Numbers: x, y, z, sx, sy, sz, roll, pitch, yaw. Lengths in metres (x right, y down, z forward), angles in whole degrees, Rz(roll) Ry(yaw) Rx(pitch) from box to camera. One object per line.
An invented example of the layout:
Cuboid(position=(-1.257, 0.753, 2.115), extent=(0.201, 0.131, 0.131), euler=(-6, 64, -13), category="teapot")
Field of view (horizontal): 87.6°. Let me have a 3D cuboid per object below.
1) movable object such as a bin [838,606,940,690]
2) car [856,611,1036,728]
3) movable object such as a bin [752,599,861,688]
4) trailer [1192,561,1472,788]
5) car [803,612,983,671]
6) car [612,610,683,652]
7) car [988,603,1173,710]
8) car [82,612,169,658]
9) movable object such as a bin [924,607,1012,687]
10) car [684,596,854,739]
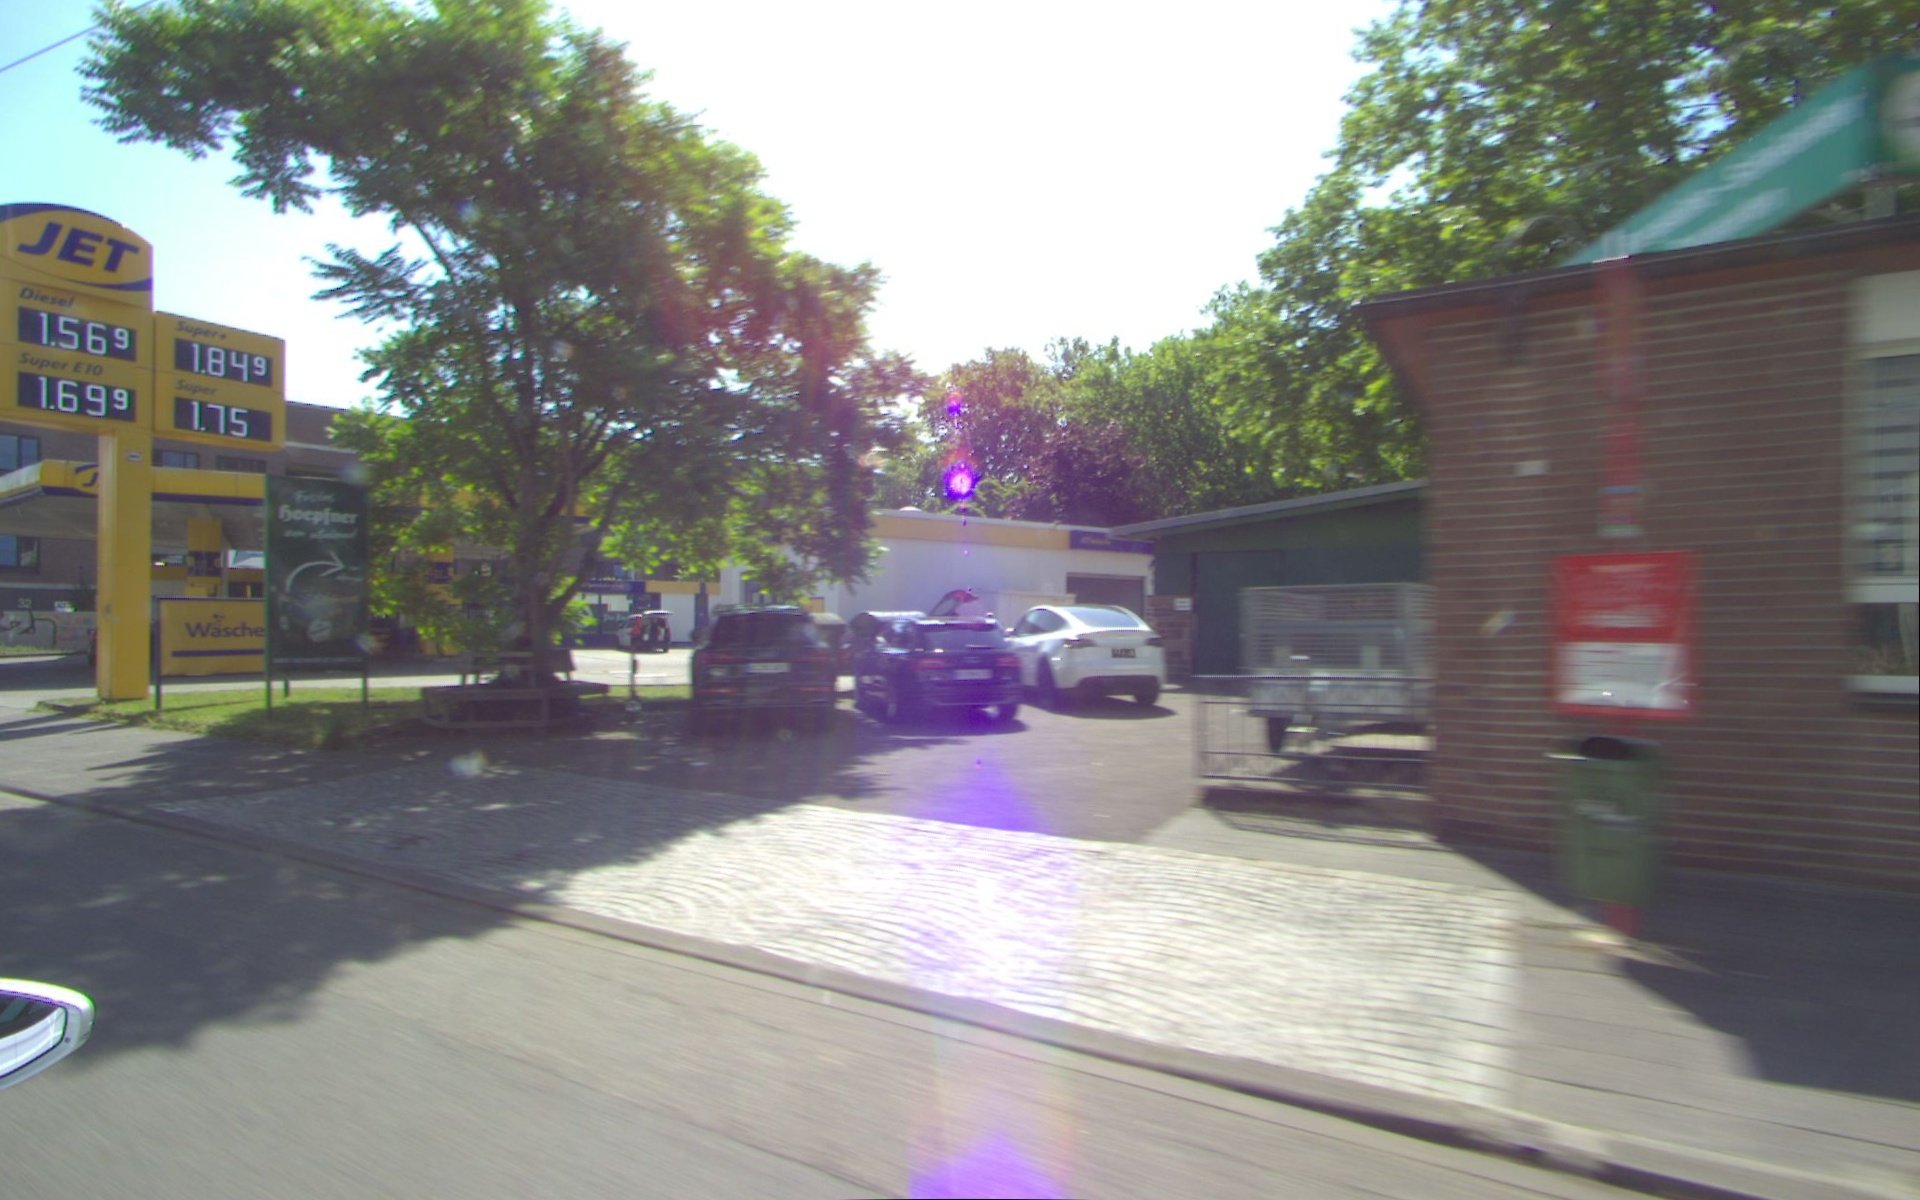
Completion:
Cuboid(position=(-1.349, 0.885, 18.986), extent=(1.407, 1.522, 1.367), euler=(1, -1, -42), category="movable object such as a bin")
Cuboid(position=(-0.361, 0.938, 14.939), extent=(1.814, 1.493, 3.995), euler=(1, -1, -14), category="car")
Cuboid(position=(-2.783, 0.768, 18.228), extent=(1.361, 1.522, 1.414), euler=(0, -1, 35), category="movable object such as a bin")
Cuboid(position=(3.474, 0.572, 9.009), extent=(1.699, 1.624, 3.267), euler=(0, -1, 33), category="trailer")
Cuboid(position=(-1.762, 1.095, 26.885), extent=(4.495, 1.479, 1.882), euler=(1, -1, -32), category="car")
Cuboid(position=(-15.693, 1.523, 50.149), extent=(1.740, 2.008, 5.267), euler=(1, -1, -37), category="car")
Cuboid(position=(1.891, 0.888, 17.003), extent=(1.814, 1.577, 3.995), euler=(1, -1, -14), category="car")
Cuboid(position=(-28.238, 1.148, 34.001), extent=(1.738, 1.474, 4.382), euler=(1, -1, -33), category="car")
Cuboid(position=(0.151, 0.923, 20.156), extent=(1.310, 1.522, 1.324), euler=(1, -1, -29), category="movable object such as a bin")
Cuboid(position=(-2.814, 0.845, 14.164), extent=(1.983, 1.662, 4.654), euler=(1, -1, -14), category="car")
